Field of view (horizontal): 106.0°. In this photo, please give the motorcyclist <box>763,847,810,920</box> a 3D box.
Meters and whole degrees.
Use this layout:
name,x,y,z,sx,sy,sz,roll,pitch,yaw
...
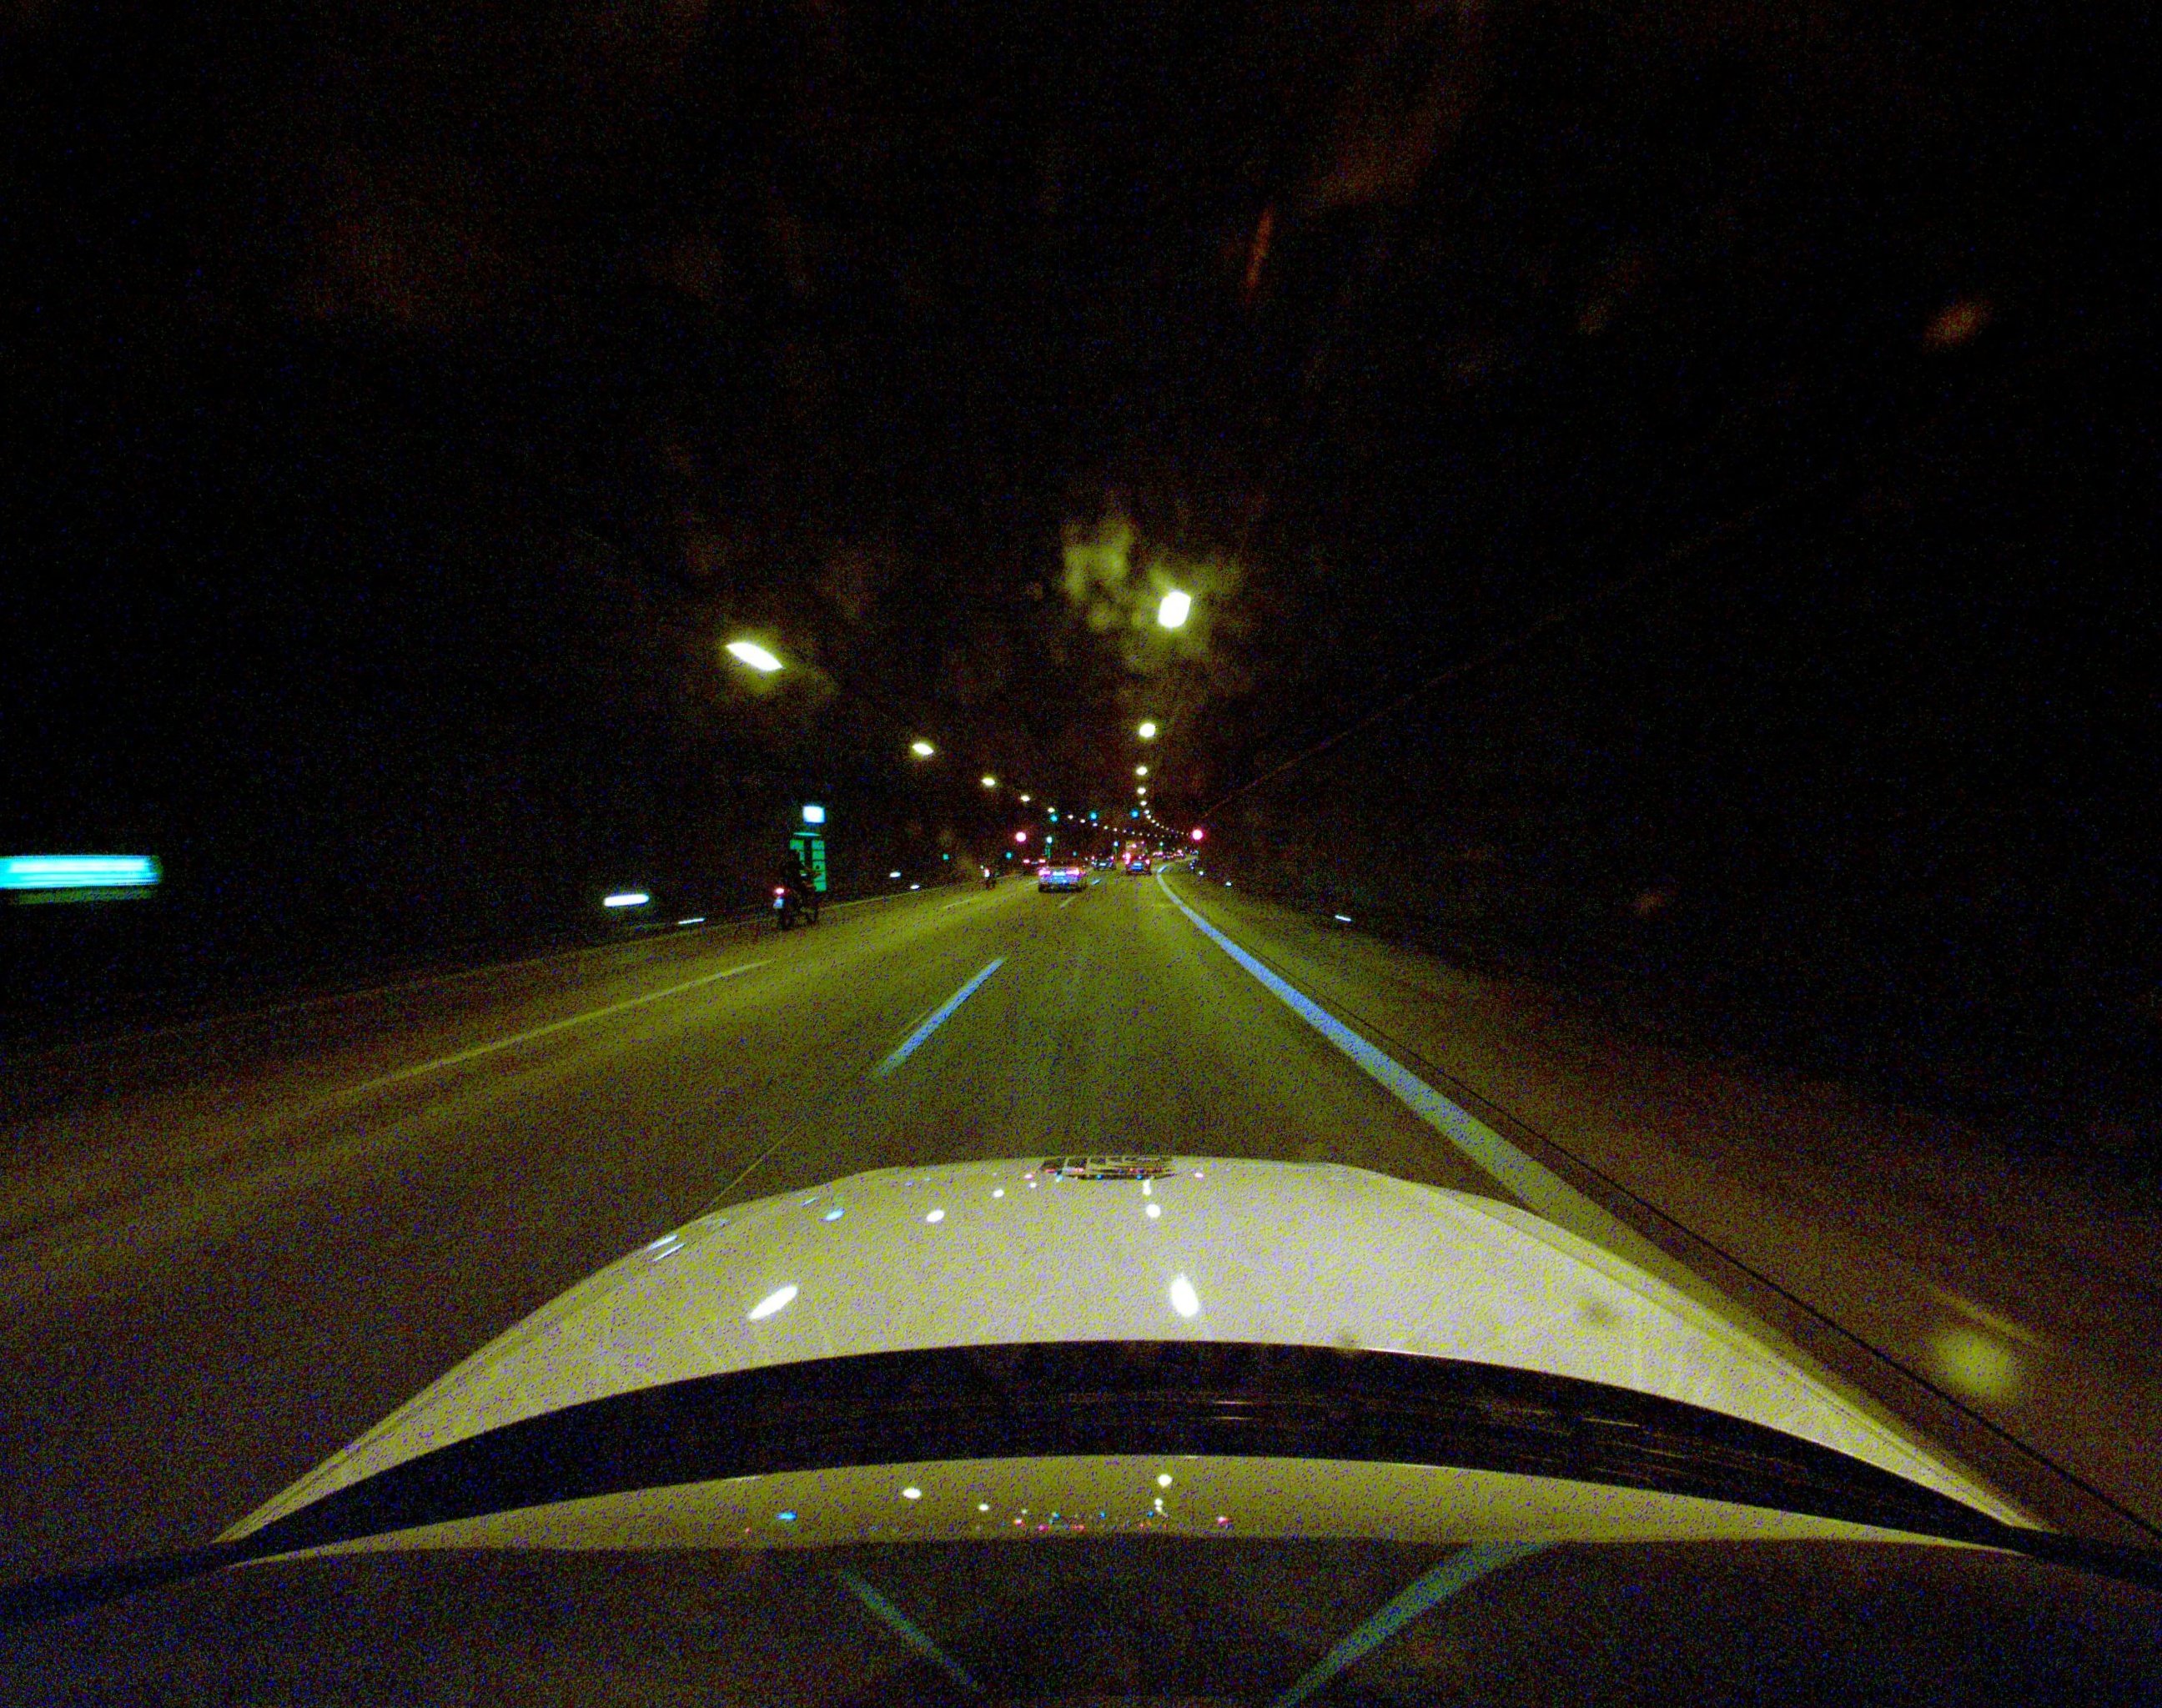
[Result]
name,x,y,z,sx,sy,sz,roll,pitch,yaw
motorcyclist,-6.278,0.611,17.406,0.624,1.489,0.891,-2,0,2

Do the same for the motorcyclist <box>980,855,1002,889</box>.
name,x,y,z,sx,sy,sz,roll,pitch,yaw
motorcyclist,-4.103,0.818,36.976,0.835,1.477,0.822,-1,1,3

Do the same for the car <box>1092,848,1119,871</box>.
name,x,y,z,sx,sy,sz,roll,pitch,yaw
car,2.234,0.460,73.833,1.982,1.972,4.009,-1,0,8

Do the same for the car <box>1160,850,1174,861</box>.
name,x,y,z,sx,sy,sz,roll,pitch,yaw
car,13.264,0.174,125.918,1.836,1.568,4.004,-3,0,4

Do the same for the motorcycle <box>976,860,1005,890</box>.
name,x,y,z,sx,sy,sz,roll,pitch,yaw
motorcycle,-4.082,0.919,36.824,0.842,1.246,2.607,-1,0,4

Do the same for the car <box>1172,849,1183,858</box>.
name,x,y,z,sx,sy,sz,roll,pitch,yaw
car,18.305,-0.097,154.346,1.849,1.666,4.008,-3,0,7

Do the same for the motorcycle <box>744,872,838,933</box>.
name,x,y,z,sx,sy,sz,roll,pitch,yaw
motorcycle,-6.258,1.021,17.762,1.049,1.157,2.429,-1,0,3

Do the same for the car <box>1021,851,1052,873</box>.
name,x,y,z,sx,sy,sz,roll,pitch,yaw
car,-3.314,0.594,61.147,1.777,1.598,3.807,-1,0,5

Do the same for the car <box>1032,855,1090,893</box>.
name,x,y,z,sx,sy,sz,roll,pitch,yaw
car,-0.785,0.792,34.582,1.984,1.483,4.006,-1,0,5

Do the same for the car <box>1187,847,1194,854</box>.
name,x,y,z,sx,sy,sz,roll,pitch,yaw
car,28.352,-0.804,211.063,1.823,1.691,4.010,-3,0,8

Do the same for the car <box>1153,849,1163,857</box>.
name,x,y,z,sx,sy,sz,roll,pitch,yaw
car,17.186,-0.211,181.341,1.819,1.618,4.011,-3,0,9

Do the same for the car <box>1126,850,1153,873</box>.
name,x,y,z,sx,sy,sz,roll,pitch,yaw
car,4.212,0.527,59.116,1.831,1.602,4.004,-2,0,4

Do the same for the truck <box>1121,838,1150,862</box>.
name,x,y,z,sx,sy,sz,roll,pitch,yaw
truck,7.994,-0.643,117.838,3.064,3.112,10.056,-4,1,9
